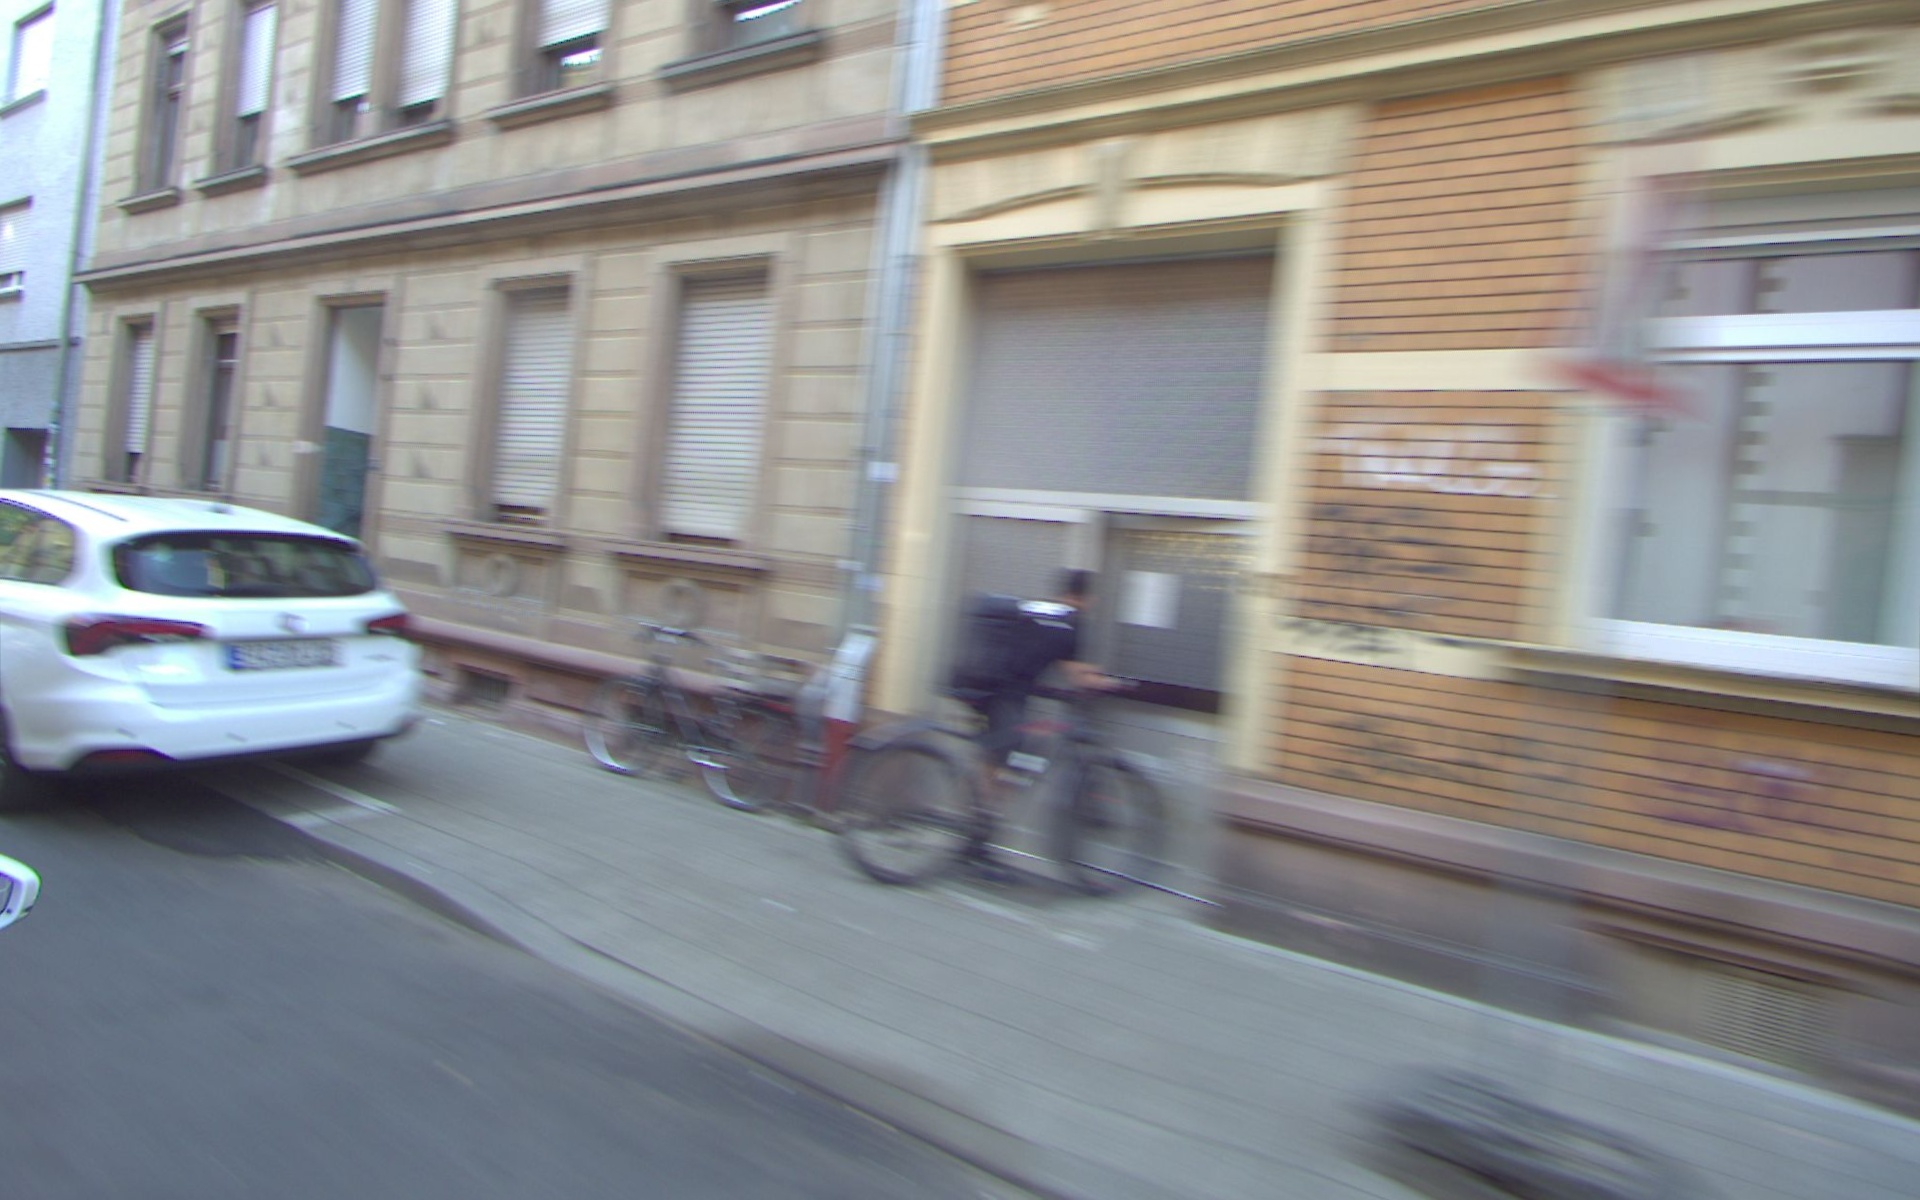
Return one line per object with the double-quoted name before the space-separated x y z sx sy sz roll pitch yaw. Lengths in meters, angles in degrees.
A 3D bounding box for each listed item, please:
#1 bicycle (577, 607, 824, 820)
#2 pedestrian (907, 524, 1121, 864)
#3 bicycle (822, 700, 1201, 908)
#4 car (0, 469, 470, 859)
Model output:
"bicycle" -1.686 0.672 6.434 1.541 1.080 0.517 7 3 31
"pedestrian" 0.259 0.481 5.359 0.865 1.652 0.654 5 2 -11
"bicycle" 0.236 1.039 5.188 1.796 0.827 0.595 6 2 -10
"car" -5.085 0.070 5.983 4.368 1.540 1.753 7 5 30
